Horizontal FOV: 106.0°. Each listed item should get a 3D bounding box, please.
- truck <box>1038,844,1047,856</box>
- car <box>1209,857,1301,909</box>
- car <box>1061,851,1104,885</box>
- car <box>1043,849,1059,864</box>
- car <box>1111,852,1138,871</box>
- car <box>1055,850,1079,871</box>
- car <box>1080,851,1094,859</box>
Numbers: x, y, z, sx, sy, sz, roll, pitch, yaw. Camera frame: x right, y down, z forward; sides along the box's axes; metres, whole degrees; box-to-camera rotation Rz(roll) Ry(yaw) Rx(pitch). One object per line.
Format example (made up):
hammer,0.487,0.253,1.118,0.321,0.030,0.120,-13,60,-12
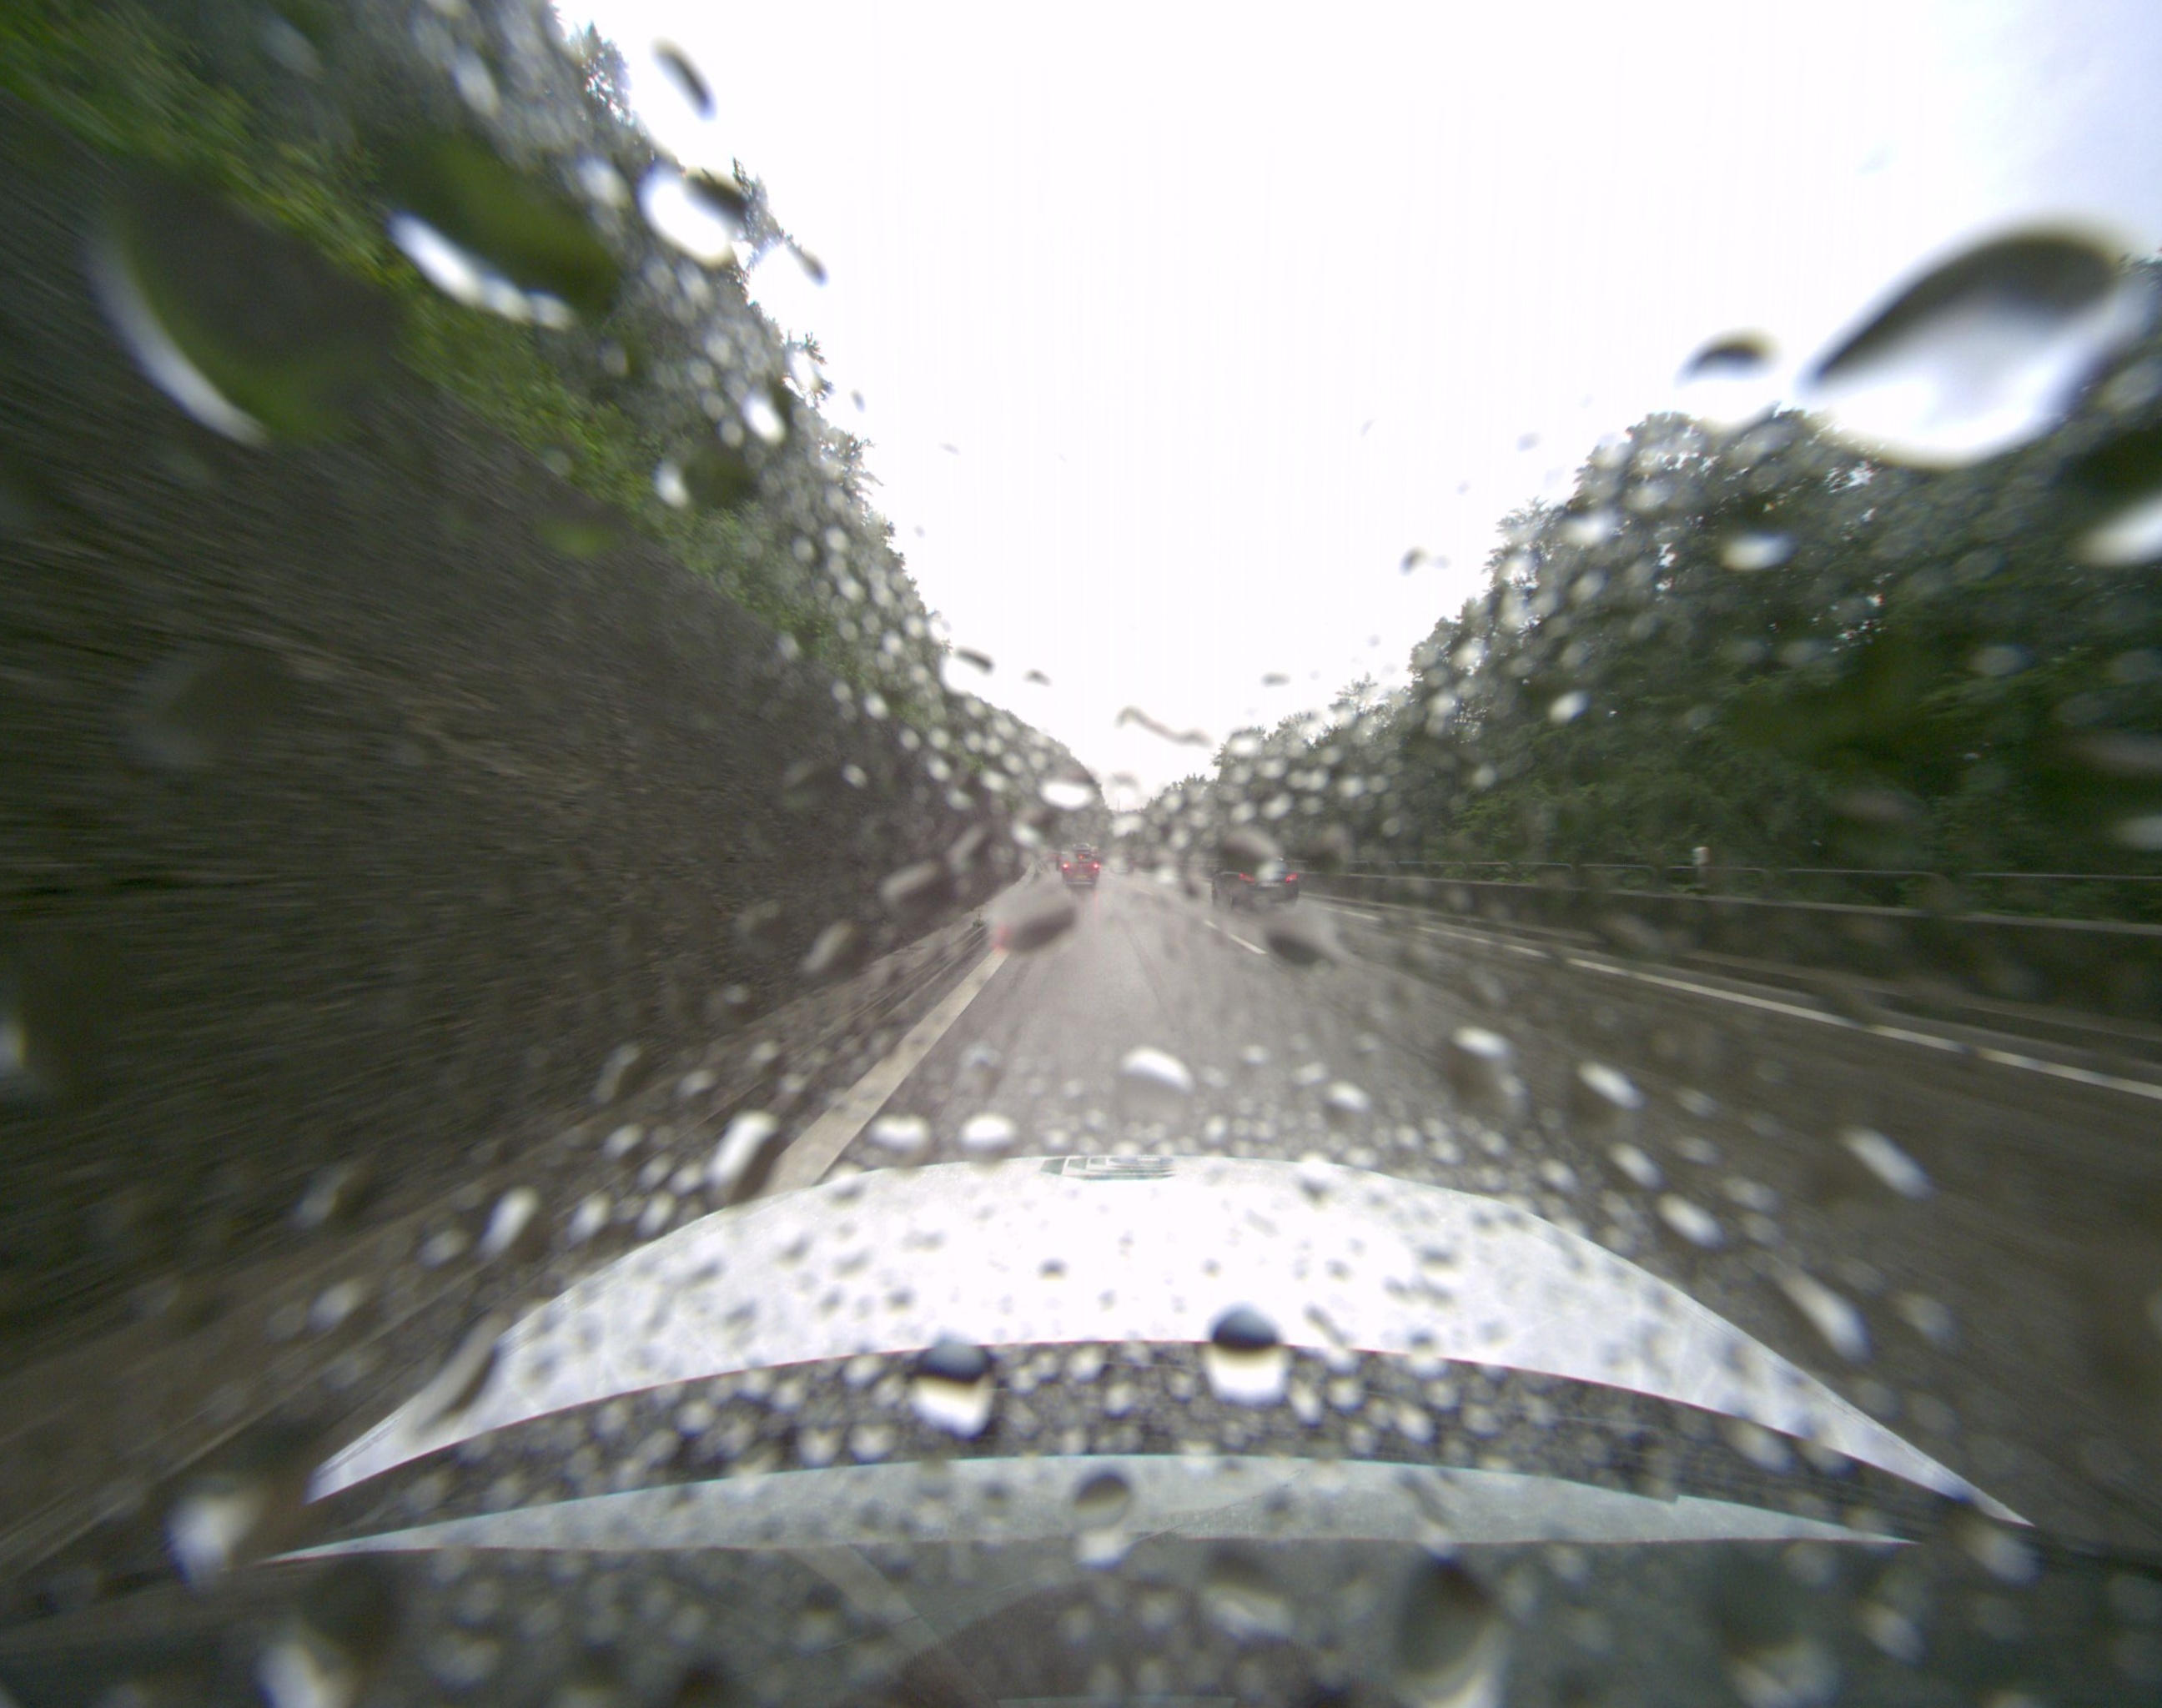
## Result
truck,-8.582,-0.865,181.564,1.989,2.751,5.579,-1,0,-3
car,4.787,0.747,22.923,1.794,1.307,4.001,-1,0,1
car,0.037,0.661,39.592,1.988,1.552,3.998,-1,-1,-1
car,-4.242,0.392,114.832,1.991,2.014,3.990,0,-1,-6
car,3.659,0.611,68.383,1.988,1.552,3.998,0,0,-1
car,-1.219,0.579,69.425,1.988,1.684,3.998,0,-1,-1
car,1.621,0.216,221.588,2.459,2.013,4.701,-1,0,-22
